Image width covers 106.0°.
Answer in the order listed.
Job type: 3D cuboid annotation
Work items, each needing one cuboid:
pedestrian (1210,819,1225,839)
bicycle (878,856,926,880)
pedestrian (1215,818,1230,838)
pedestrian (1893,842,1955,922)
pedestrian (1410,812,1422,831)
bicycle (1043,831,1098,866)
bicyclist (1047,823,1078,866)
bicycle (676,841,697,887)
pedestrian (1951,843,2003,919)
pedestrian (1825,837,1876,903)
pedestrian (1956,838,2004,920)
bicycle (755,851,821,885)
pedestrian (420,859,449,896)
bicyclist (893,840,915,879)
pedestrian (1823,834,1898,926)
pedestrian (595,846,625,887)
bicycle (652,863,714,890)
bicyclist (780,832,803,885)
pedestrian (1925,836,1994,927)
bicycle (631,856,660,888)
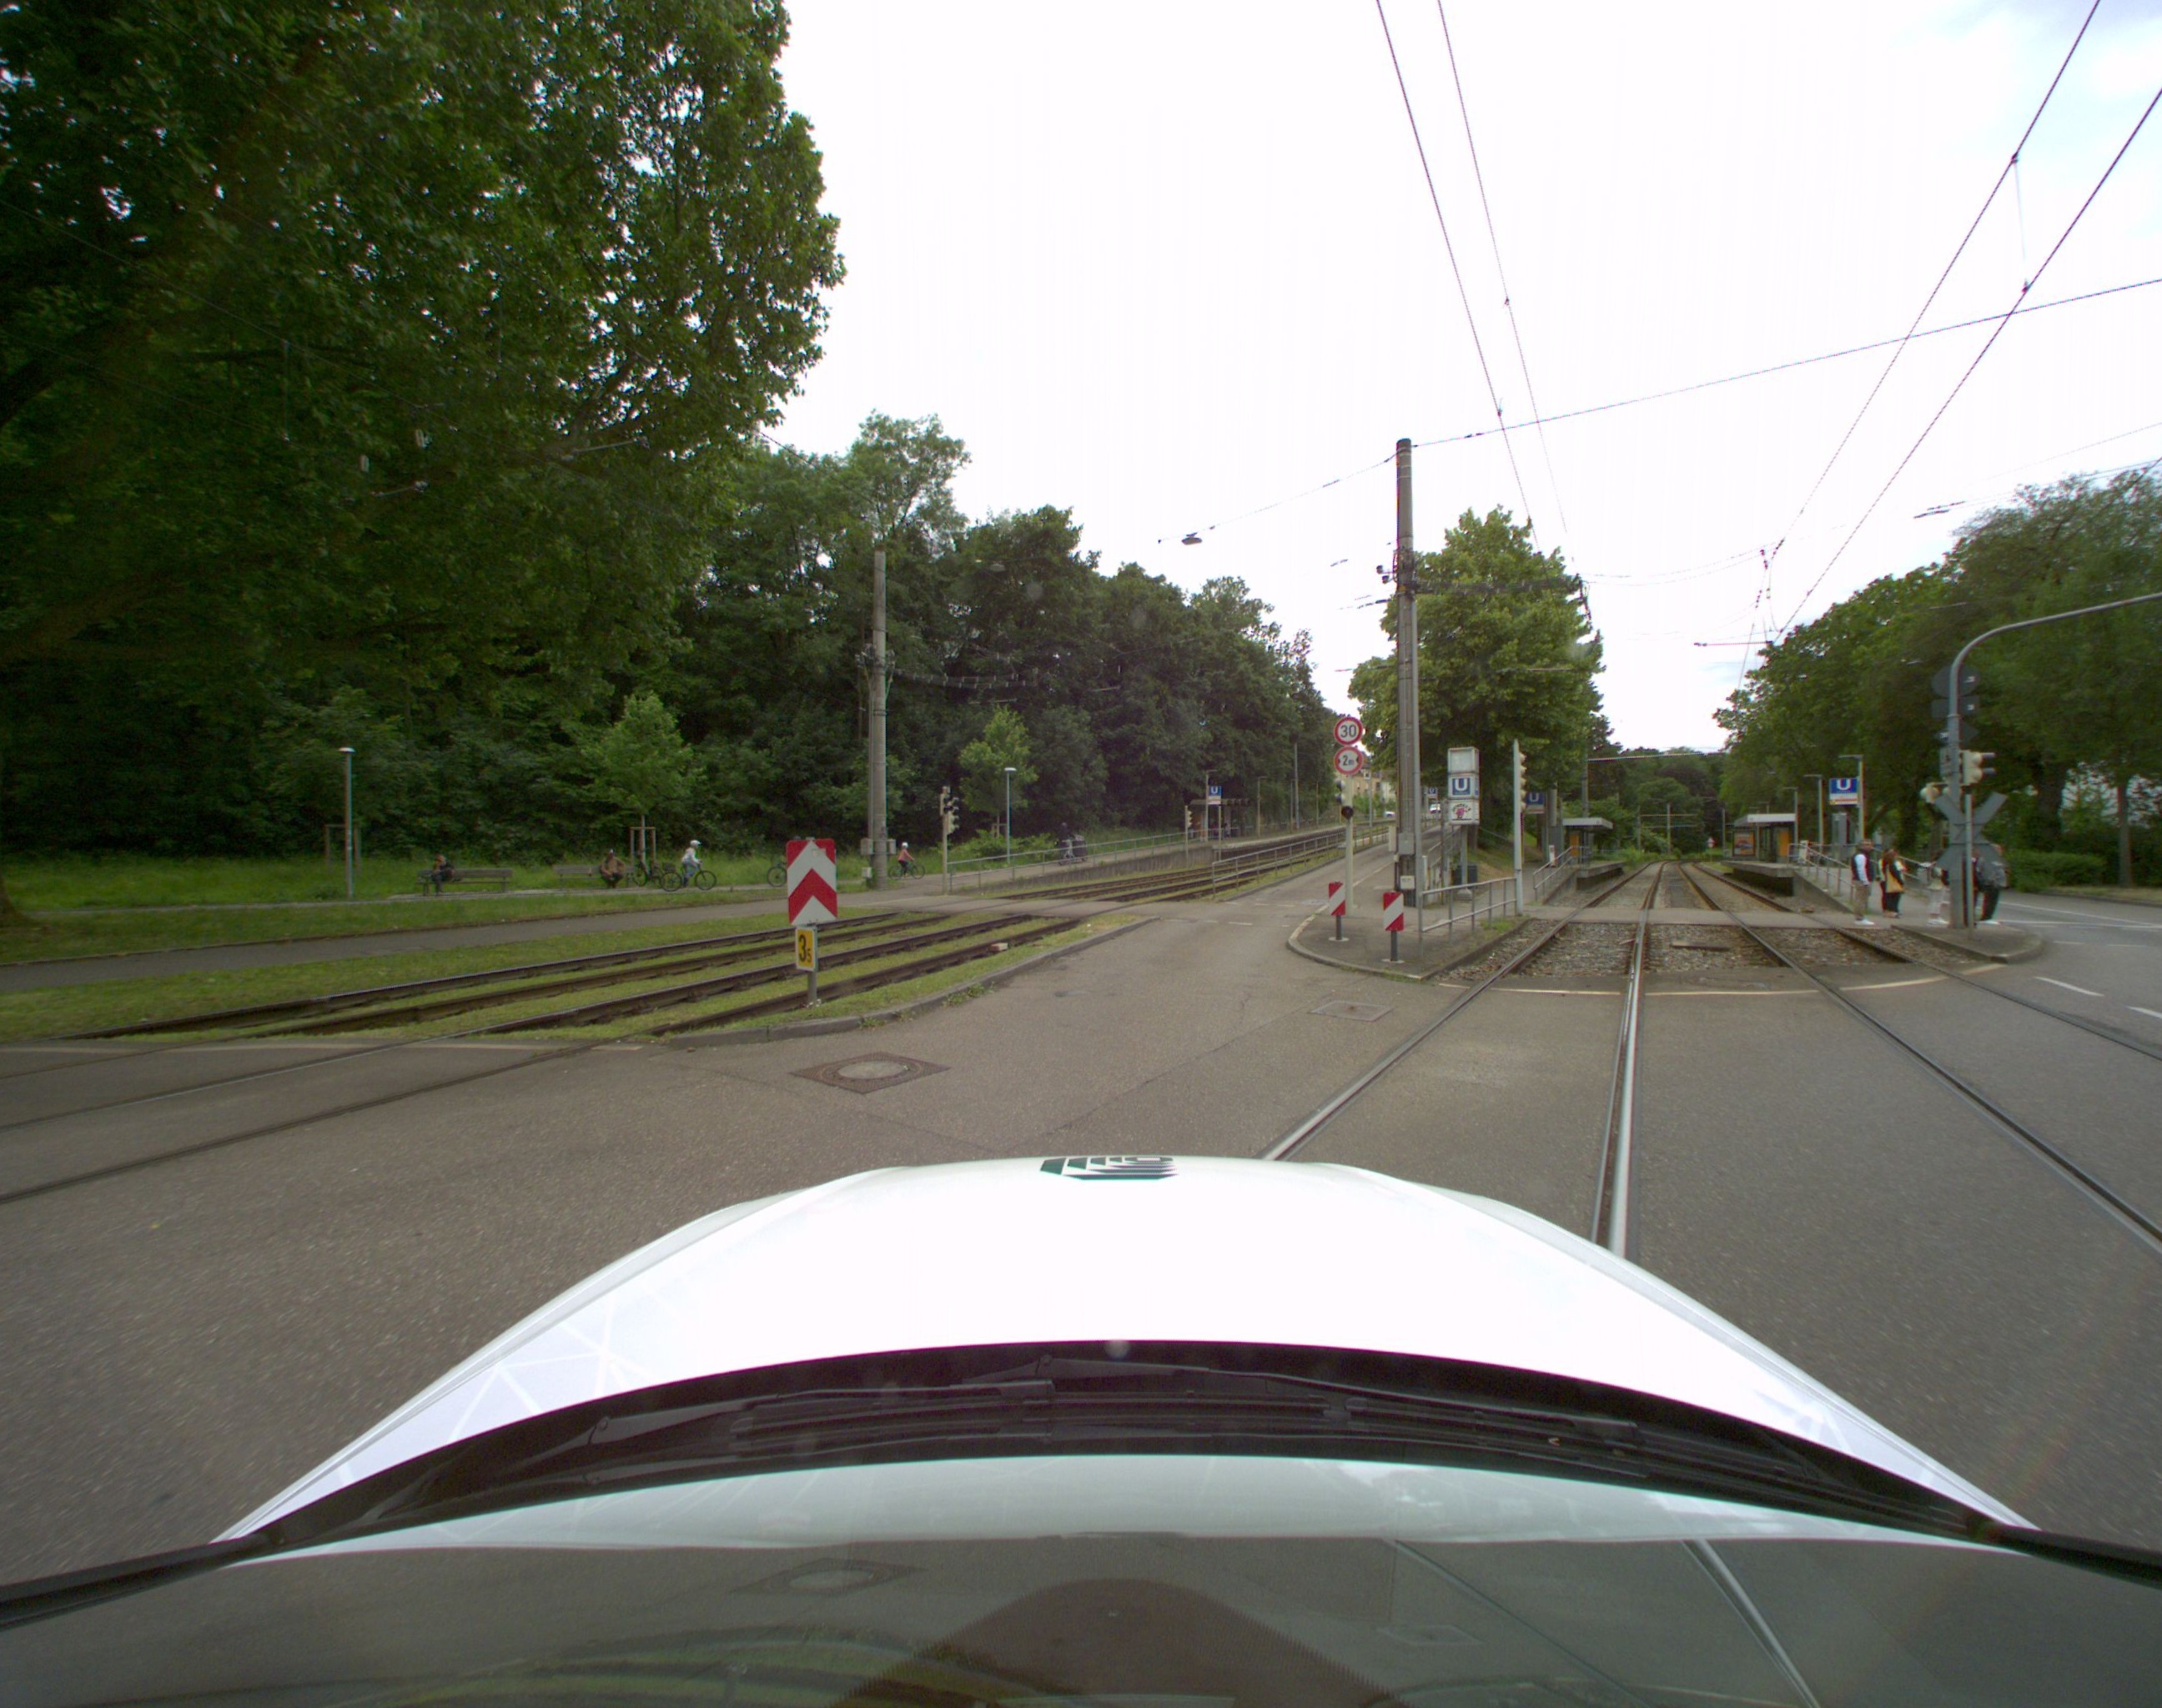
[{"bbox_3d":[9.349,-1.737,55.924,0.764,1.325,0.792,3,4,28],"label":"pedestrian"},{"bbox_3d":[-6.323,0.486,28.809,1.565,0.738,0.450,-4,6,-34],"label":"bicycle"},{"bbox_3d":[9.897,-1.812,56.938,0.764,1.326,0.792,3,2,28],"label":"pedestrian"},{"bbox_3d":[18.310,0.596,17.705,0.673,1.664,0.742,3,2,28],"label":"pedestrian"},{"bbox_3d":[25.582,-2.504,62.184,0.735,1.408,0.751,3,6,28],"label":"pedestrian"},{"bbox_3d":[-0.413,-0.269,35.165,0.726,1.289,3.369,3,6,31],"label":"bicycle"},{"bbox_3d":[-0.764,-0.435,34.577,0.726,1.710,1.301,3,6,31],"label":"bicyclist"},{"bbox_3d":[-11.924,0.289,24.618,0.517,1.329,0.451,-1,4,-29],"label":"bicycle"},{"bbox_3d":[20.578,0.606,18.722,0.673,1.664,0.742,4,2,44],"label":"pedestrian"},{"bbox_3d":[20.236,0.412,21.430,0.728,1.664,0.686,3,2,25],"label":"pedestrian"},{"bbox_3d":[20.011,0.545,18.136,0.544,1.758,0.742,4,2,40],"label":"pedestrian"},{"bbox_3d":[-9.513,0.440,26.451,1.952,1.040,0.470,-1,4,-33],"label":"bicycle"},{"bbox_3d":[-18.105,0.649,22.806,0.623,0.989,0.526,1,2,-39],"label":"pedestrian"},{"bbox_3d":[-6.264,0.197,28.822,0.583,1.300,0.450,-4,6,-34],"label":"bicyclist"},{"bbox_3d":[16.031,0.514,16.763,0.799,1.820,0.671,3,1,2],"label":"pedestrian"},{"bbox_3d":[-14.670,0.397,25.348,0.677,1.235,0.573,1,2,-41],"label":"pedestrian"},{"bbox_3d":[-12.013,0.665,24.597,1.657,0.738,0.451,-1,5,-29],"label":"bicycle"},{"bbox_3d":[-9.408,0.126,26.489,0.626,1.674,0.470,-1,4,-32],"label":"bicyclist"},{"bbox_3d":[16.849,0.516,15.641,0.728,1.664,0.686,4,2,37],"label":"pedestrian"},{"bbox_3d":[-14.015,0.562,26.213,0.625,0.885,1.728,1,2,-34],"label":"bicycle"}]
